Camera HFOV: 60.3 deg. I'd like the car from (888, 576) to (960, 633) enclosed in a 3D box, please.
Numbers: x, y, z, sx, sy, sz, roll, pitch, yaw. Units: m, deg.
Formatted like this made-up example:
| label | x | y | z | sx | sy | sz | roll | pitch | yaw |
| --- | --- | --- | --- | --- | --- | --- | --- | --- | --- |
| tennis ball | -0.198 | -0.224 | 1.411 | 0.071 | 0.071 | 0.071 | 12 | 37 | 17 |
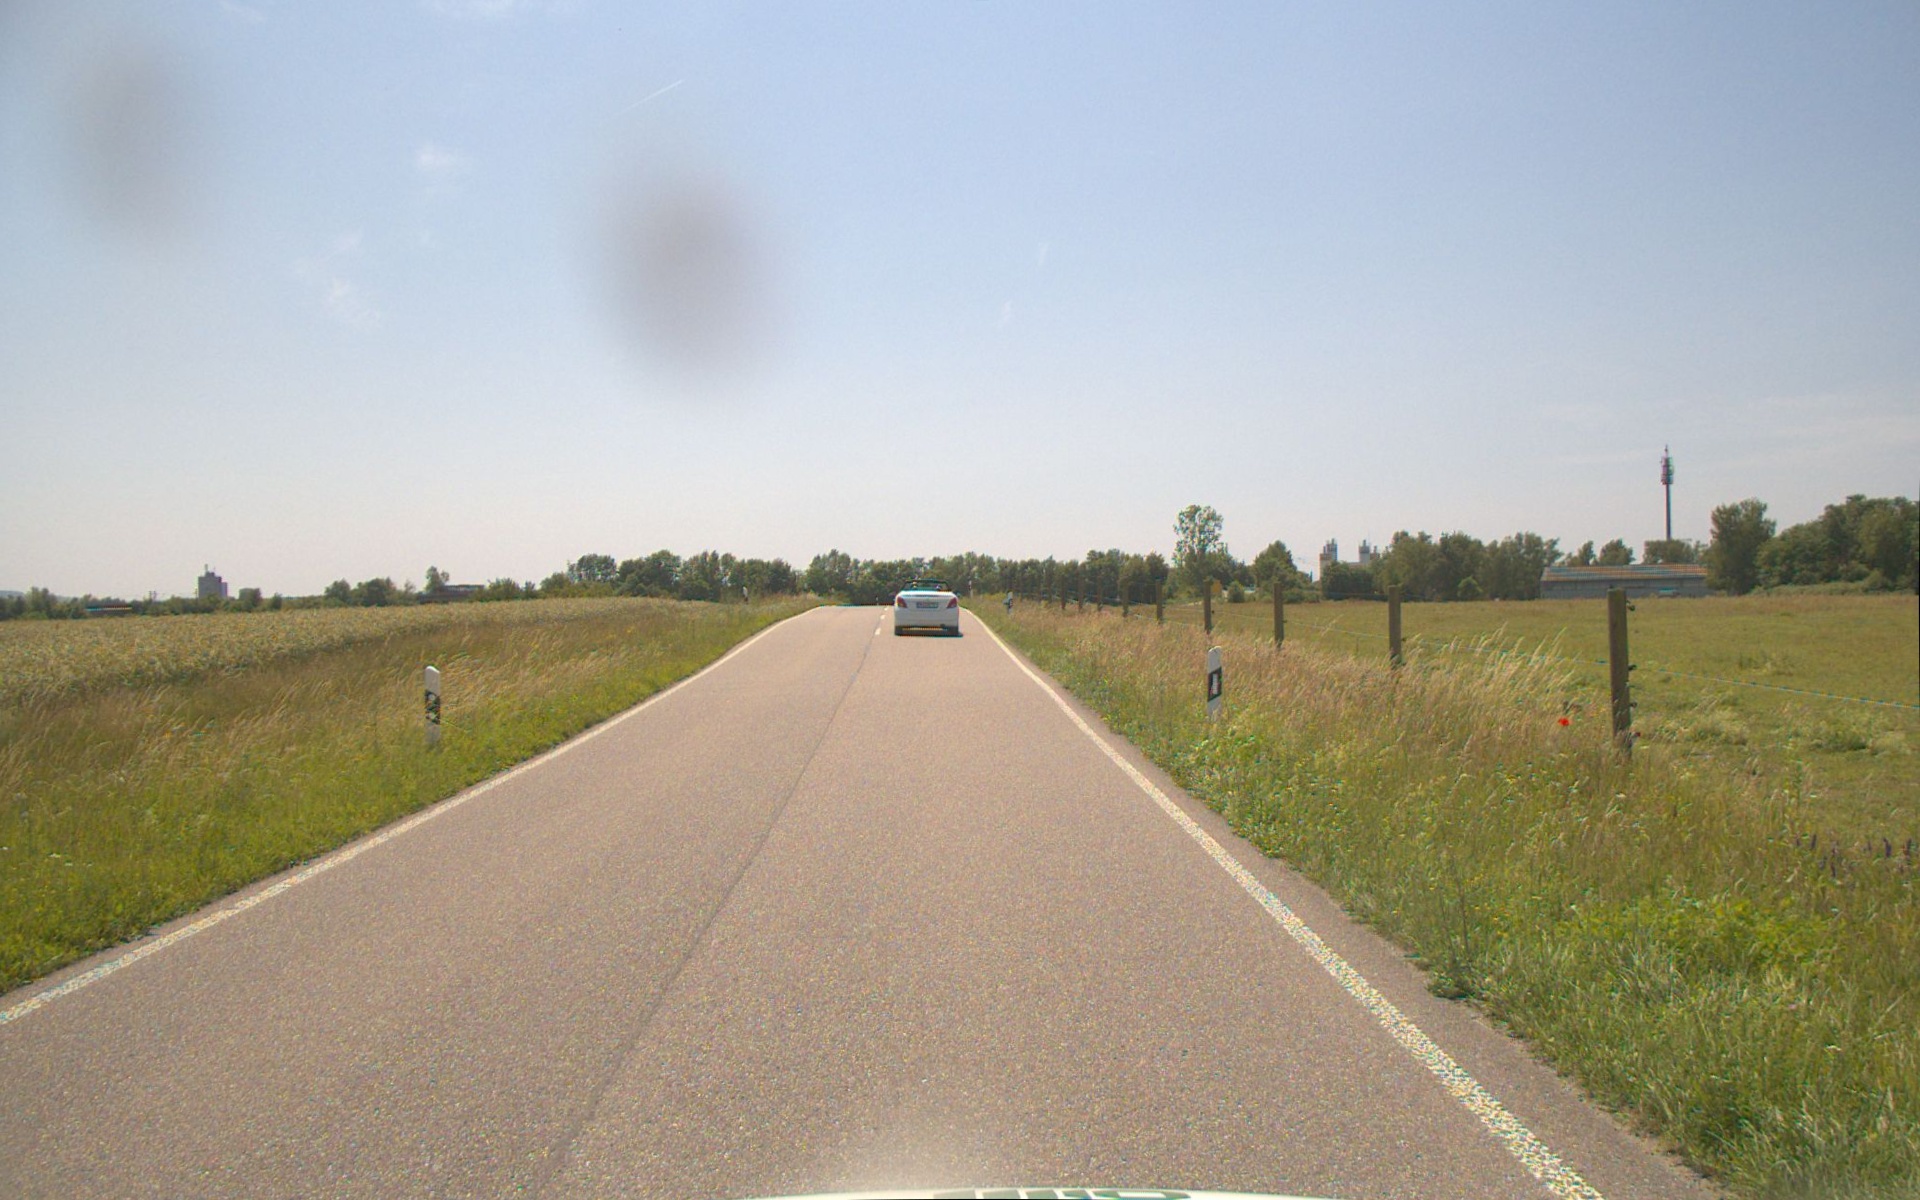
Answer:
| label | x | y | z | sx | sy | sz | roll | pitch | yaw |
| --- | --- | --- | --- | --- | --- | --- | --- | --- | --- |
| car | -0.990 | 0.086 | 43.571 | 1.814 | 1.403 | 3.999 | 0 | 1 | -2 |
